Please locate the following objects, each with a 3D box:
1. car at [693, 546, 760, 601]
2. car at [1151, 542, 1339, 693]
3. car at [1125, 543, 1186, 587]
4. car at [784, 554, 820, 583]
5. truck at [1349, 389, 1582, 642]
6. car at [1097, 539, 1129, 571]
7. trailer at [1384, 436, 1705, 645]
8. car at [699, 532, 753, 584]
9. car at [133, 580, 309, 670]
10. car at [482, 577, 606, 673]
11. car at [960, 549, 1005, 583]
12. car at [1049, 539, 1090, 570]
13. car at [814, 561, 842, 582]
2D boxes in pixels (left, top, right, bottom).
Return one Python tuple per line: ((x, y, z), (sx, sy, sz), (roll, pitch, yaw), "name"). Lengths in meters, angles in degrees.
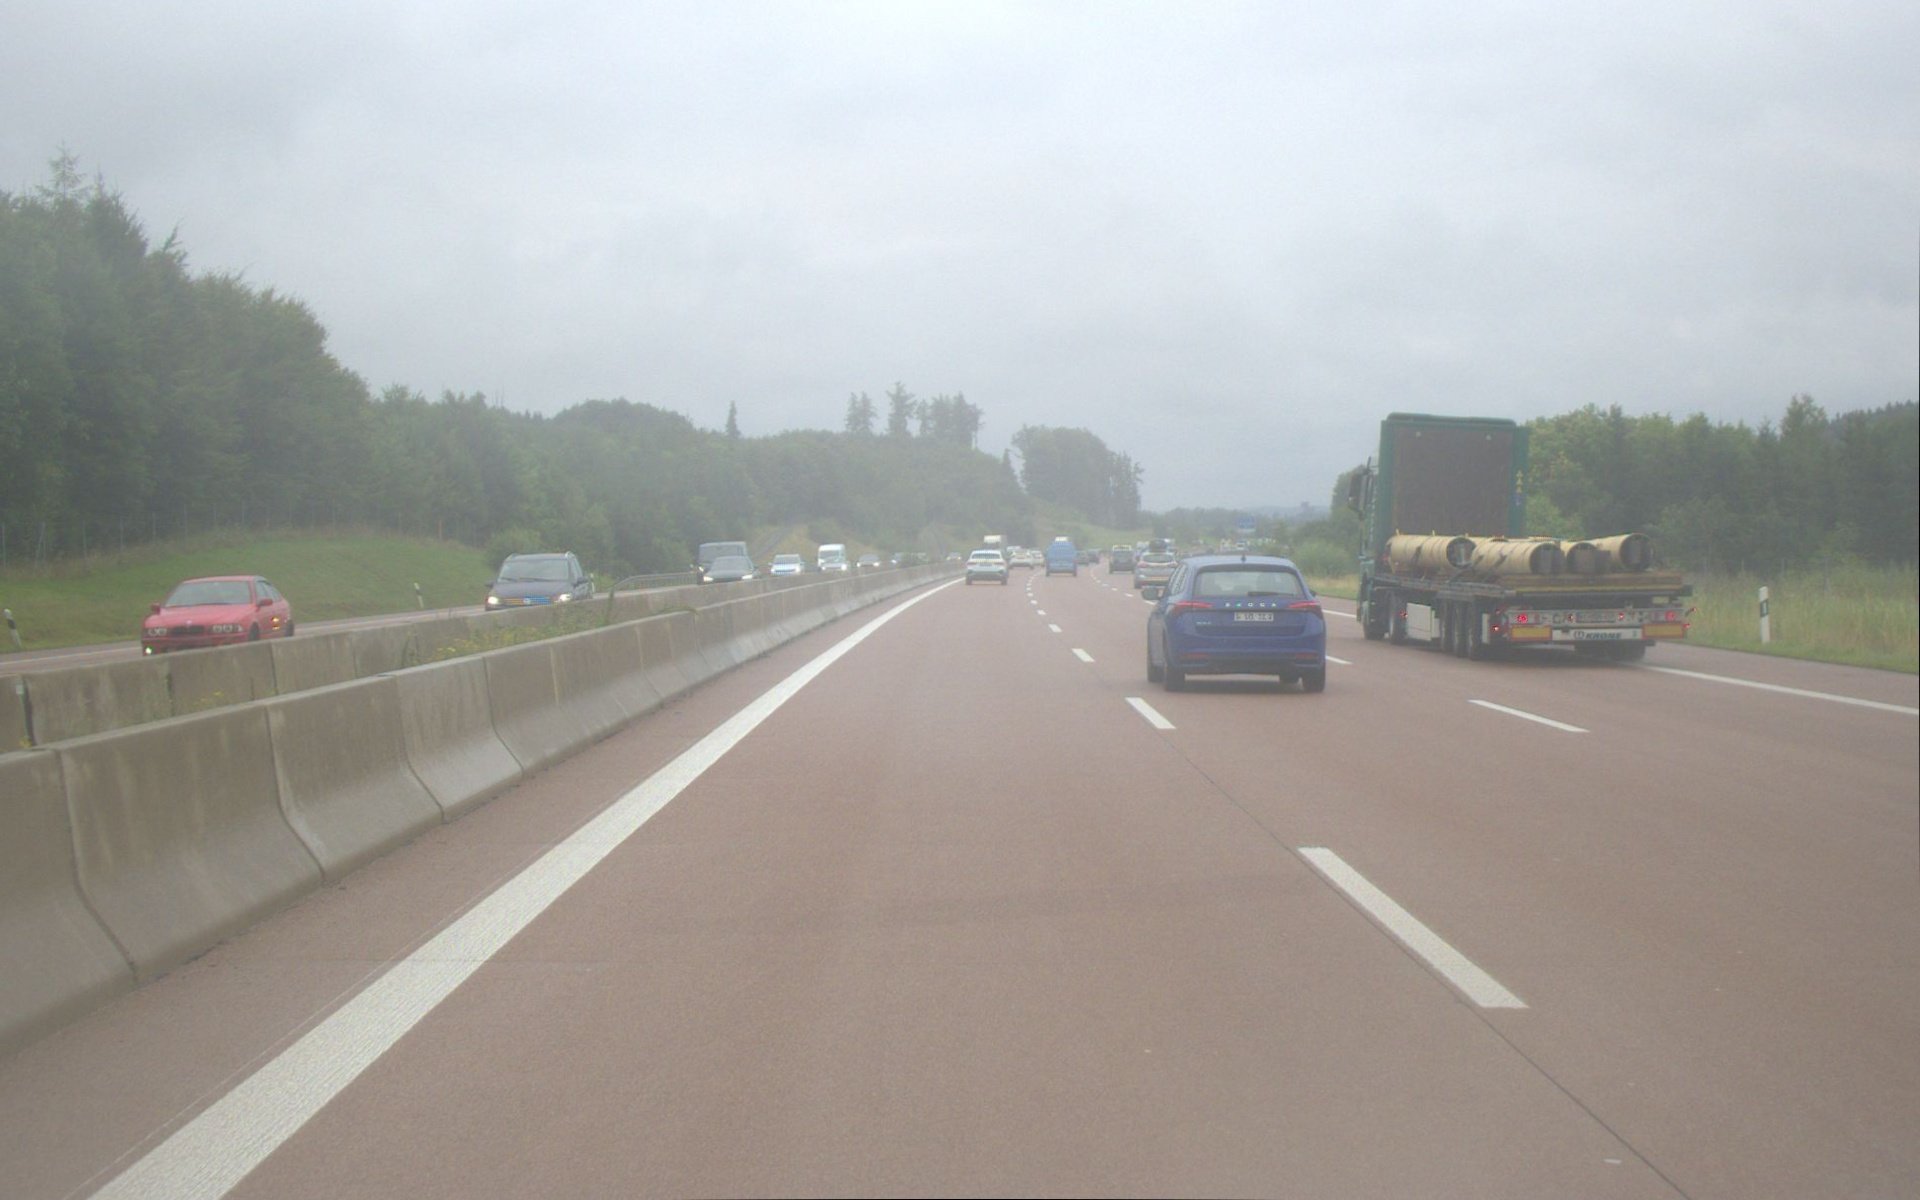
((-8.241, -0.927, 121.579), (1.776, 1.850, 5.321), (1, 0, 2), "car")
((3.093, 0.190, 38.056), (1.771, 1.559, 4.146), (1, 0, 1), "car")
((8.101, -1.447, 142.878), (2.322, 1.744, 4.877), (1, 0, 1), "car")
((-9.171, -1.833, 199.478), (1.788, 1.551, 4.866), (-2, 1, 0), "car")
((8.392, -1.319, 57.838), (2.897, 3.951, 6.988), (1, 0, 1), "truck")
((10.147, -2.989, 228.466), (1.993, 2.007, 4.000), (1, 0, 1), "car")
((8.289, -0.754, 50.351), (2.881, 2.666, 11.398), (1, 0, 1), "trailer")
((-10.685, -1.911, 157.312), (2.102, 2.272, 5.396), (1, 0, 0), "car")
((-12.014, 0.396, 56.177), (1.818, 1.365, 5.115), (1, 0, -1), "car")
((-8.399, 0.492, 69.847), (1.818, 1.835, 6.238), (1, 0, -1), "car")
((0.993, -1.503, 154.579), (1.874, 1.439, 4.877), (1, 0, -1), "car")
((6.513, -2.696, 205.242), (2.322, 1.744, 4.877), (1, 0, 1), "car")
((-9.191, -1.997, 239.720), (1.649, 1.385, 4.811), (-3, 1, 0), "car")
